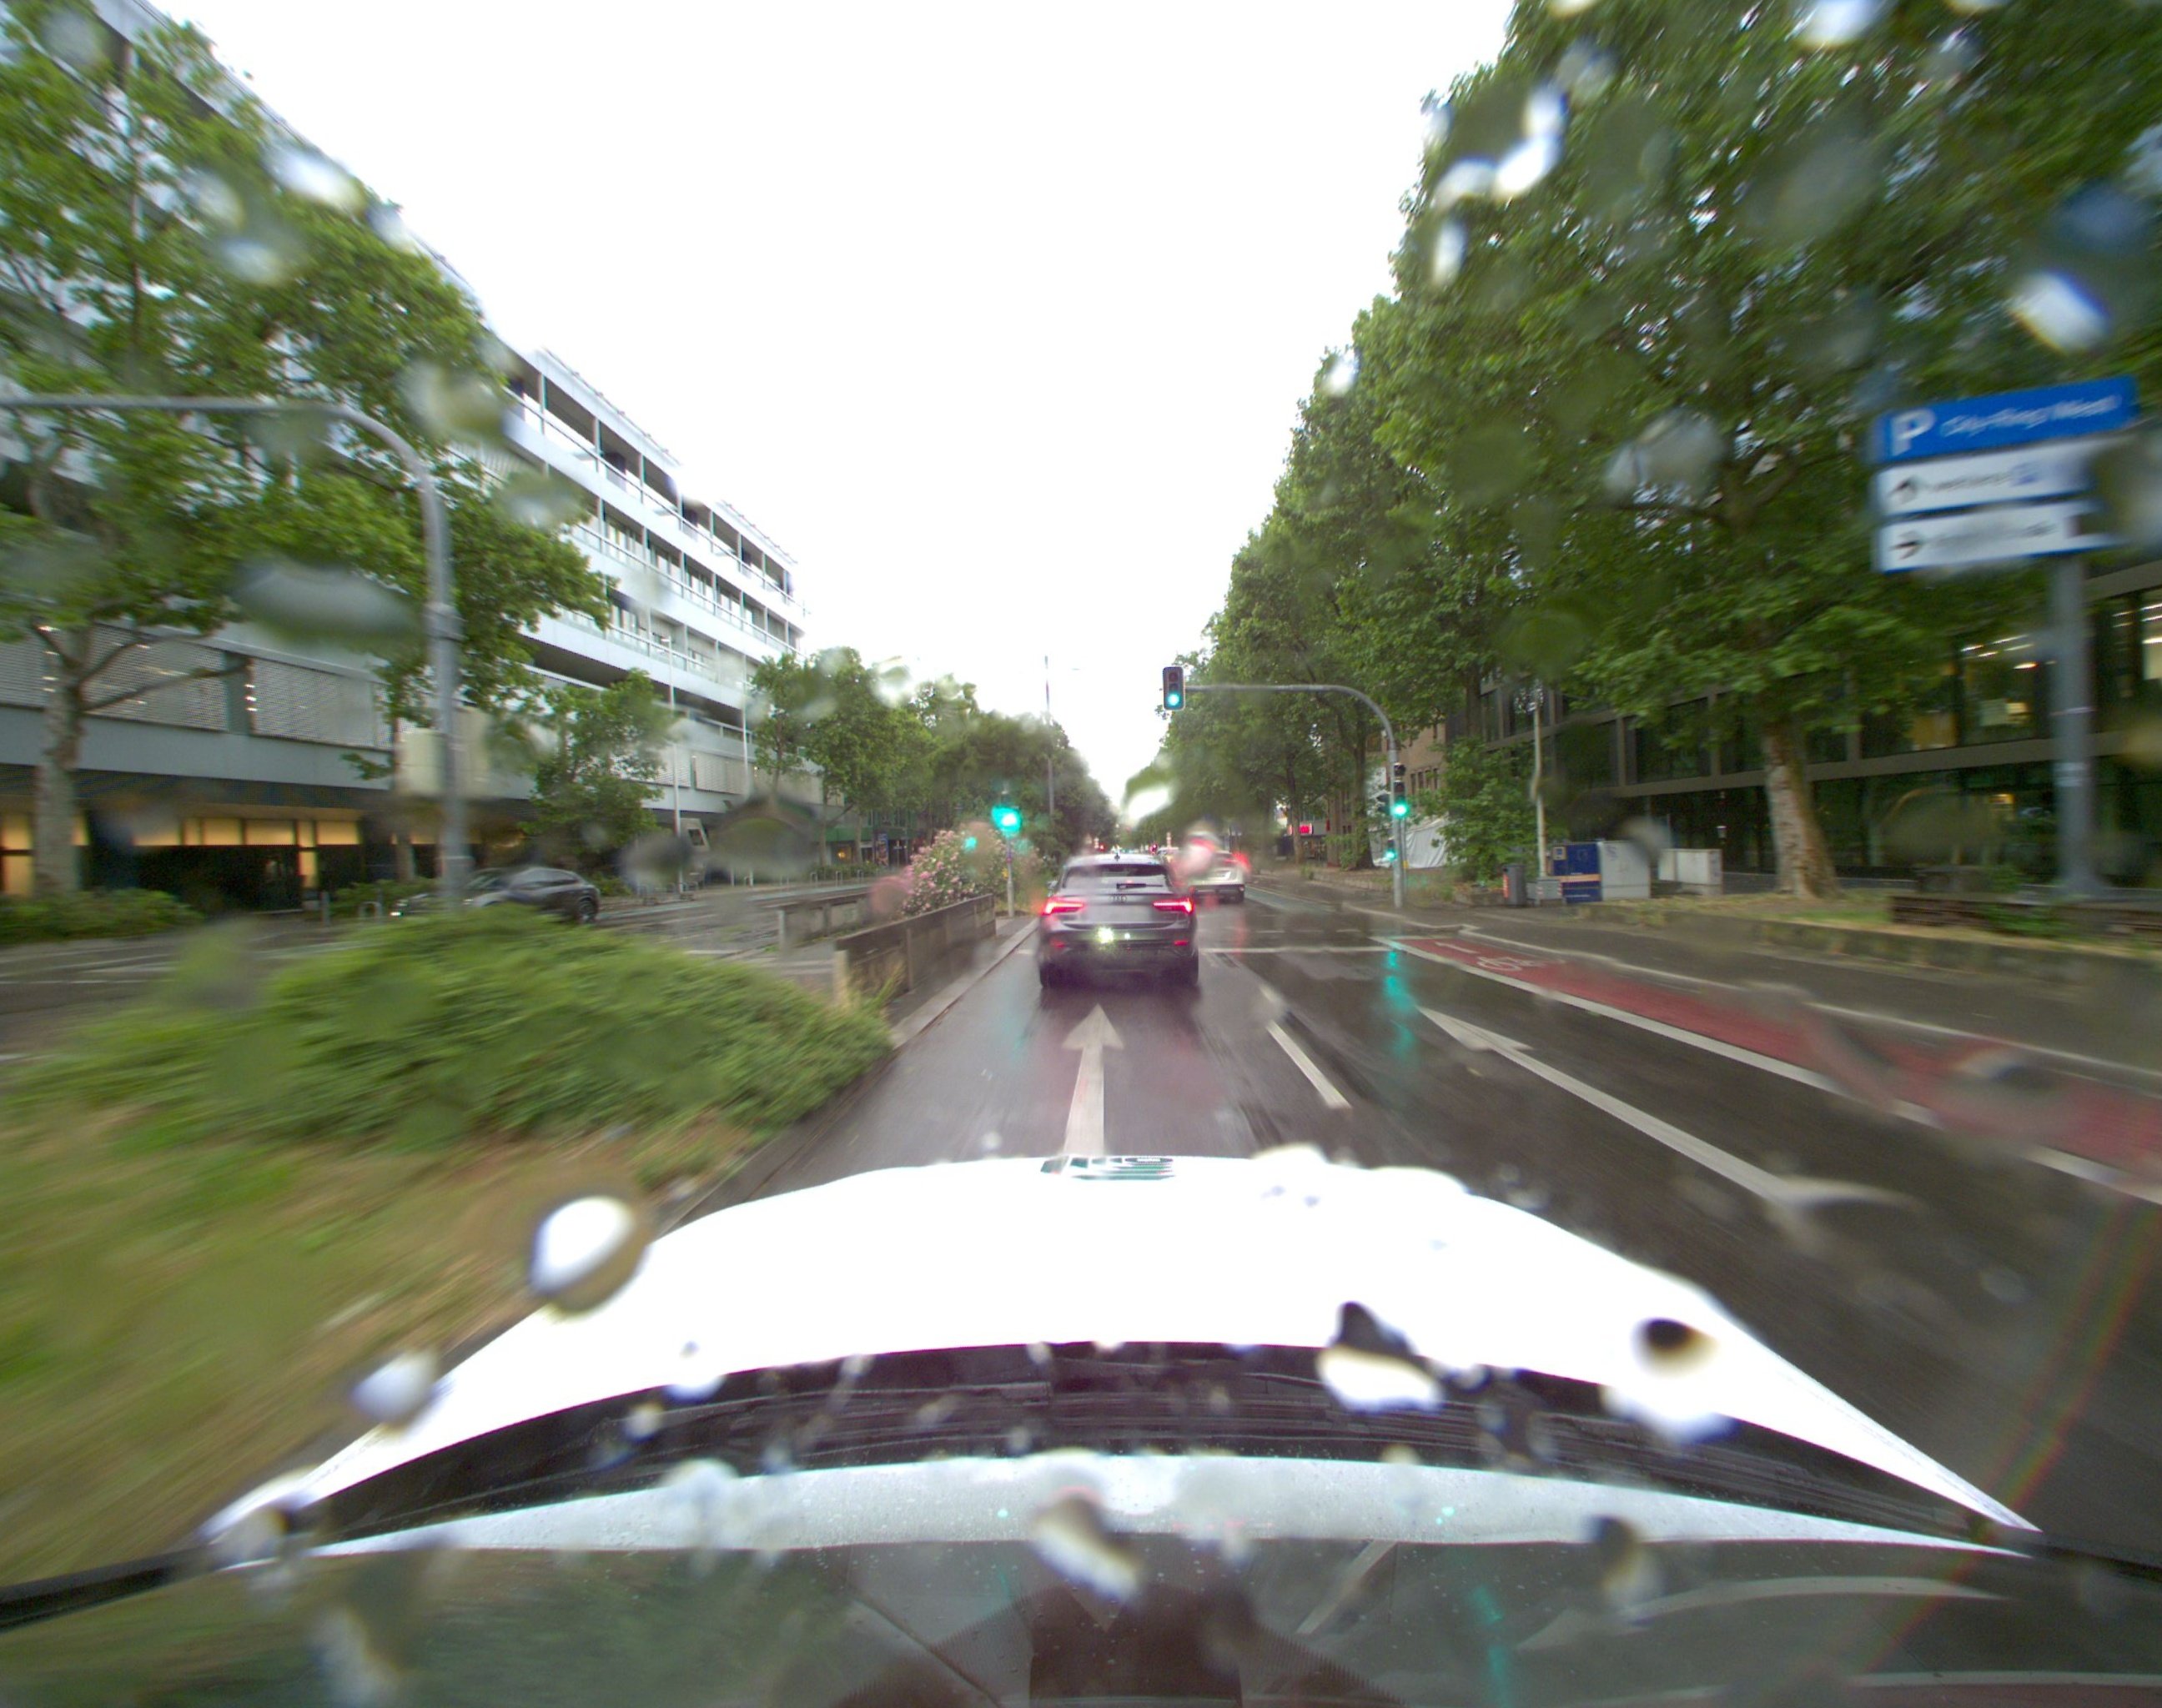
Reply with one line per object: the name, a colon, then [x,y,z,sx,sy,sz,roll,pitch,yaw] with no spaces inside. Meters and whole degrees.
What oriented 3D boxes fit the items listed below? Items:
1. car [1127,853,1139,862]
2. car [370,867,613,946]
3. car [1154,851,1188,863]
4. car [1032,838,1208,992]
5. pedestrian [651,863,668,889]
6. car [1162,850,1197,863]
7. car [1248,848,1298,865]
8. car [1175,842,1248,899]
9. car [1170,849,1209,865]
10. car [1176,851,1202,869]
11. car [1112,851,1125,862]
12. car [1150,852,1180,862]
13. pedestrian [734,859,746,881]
car: [9.337,0.694,146.568,1.985,1.651,4.002,0,-1,2]
car: [-13.546,1.128,19.181,1.900,1.584,4.754,0,-1,6]
car: [13.465,0.411,122.338,4.594,1.706,2.012,-1,-1,30]
car: [0.457,0.659,10.660,1.843,1.602,4.001,-1,0,1]
pedestrian: [-22.999,1.186,44.448,0.636,1.380,0.474,0,-1,-1]
car: [14.318,0.380,118.786,4.594,1.706,2.012,-1,-1,30]
car: [12.689,0.164,53.868,2.856,1.074,1.465,-1,-1,33]
car: [4.138,0.528,26.388,1.871,1.697,4.002,0,-1,2]
car: [13.869,0.444,104.271,4.548,2.014,1.980,-1,-1,40]
car: [9.833,0.558,74.667,1.723,1.571,4.070,0,-1,-2]
car: [6.128,0.491,132.221,1.986,1.726,4.001,0,-1,2]
car: [13.988,0.512,135.923,4.594,1.706,2.012,-1,-1,30]
pedestrian: [-23.185,1.117,55.405,0.608,1.482,0.574,0,-1,-1]
